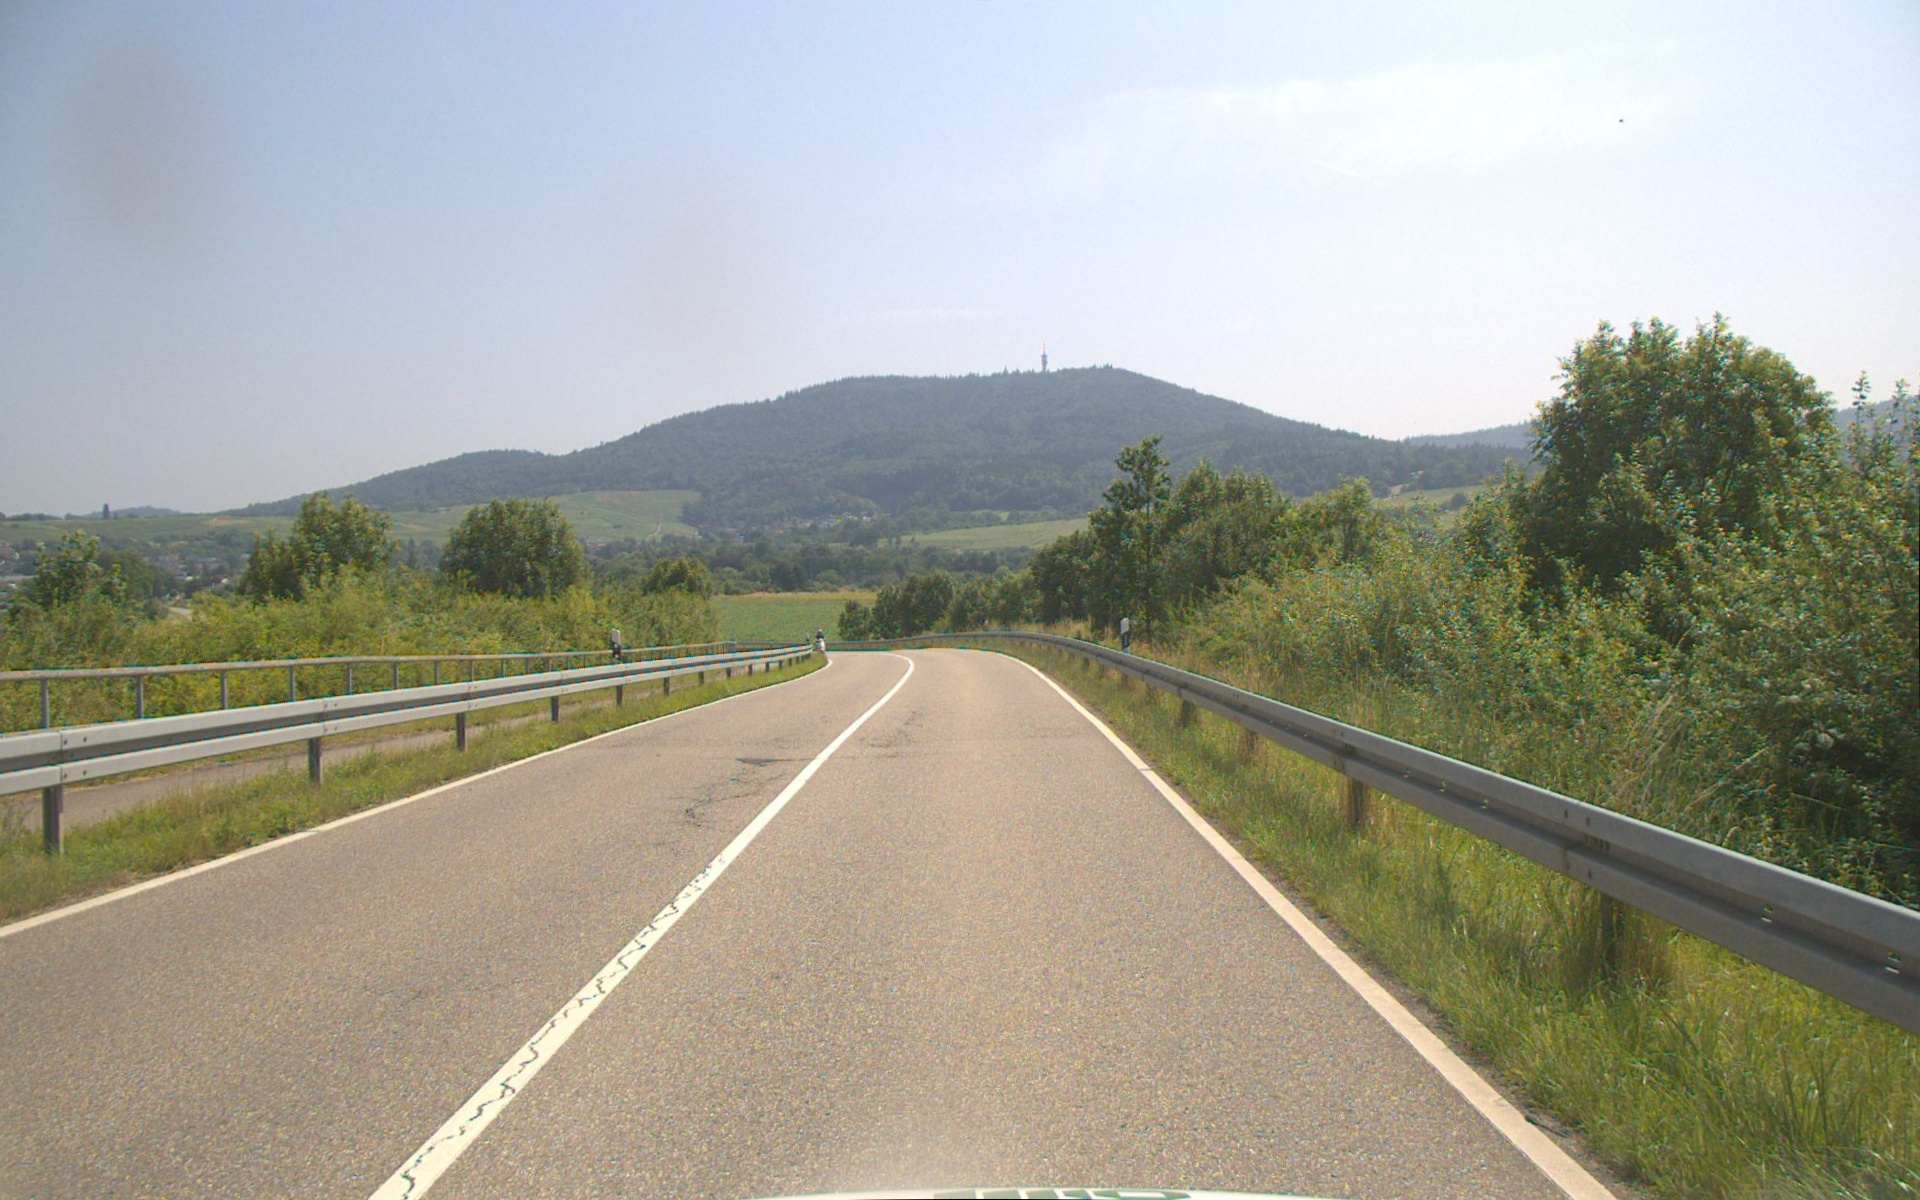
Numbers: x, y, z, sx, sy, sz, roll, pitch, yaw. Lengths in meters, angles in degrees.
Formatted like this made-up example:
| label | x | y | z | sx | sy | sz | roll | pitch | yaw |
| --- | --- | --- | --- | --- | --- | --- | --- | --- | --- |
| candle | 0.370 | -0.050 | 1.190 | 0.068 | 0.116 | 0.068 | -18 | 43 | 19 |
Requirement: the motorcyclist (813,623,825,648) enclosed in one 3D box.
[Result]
| label | x | y | z | sx | sy | sz | roll | pitch | yaw |
| --- | --- | --- | --- | --- | --- | --- | --- | --- | --- |
| motorcyclist | -9.048 | 2.292 | 106.443 | 0.642 | 1.589 | 0.774 | -4 | -1 | -6 |

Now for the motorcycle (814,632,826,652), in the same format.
| label | x | y | z | sx | sy | sz | roll | pitch | yaw |
| --- | --- | --- | --- | --- | --- | --- | --- | --- | --- |
| motorcycle | -9.026 | 2.695 | 106.418 | 0.631 | 1.244 | 1.636 | -4 | -1 | -6 |
